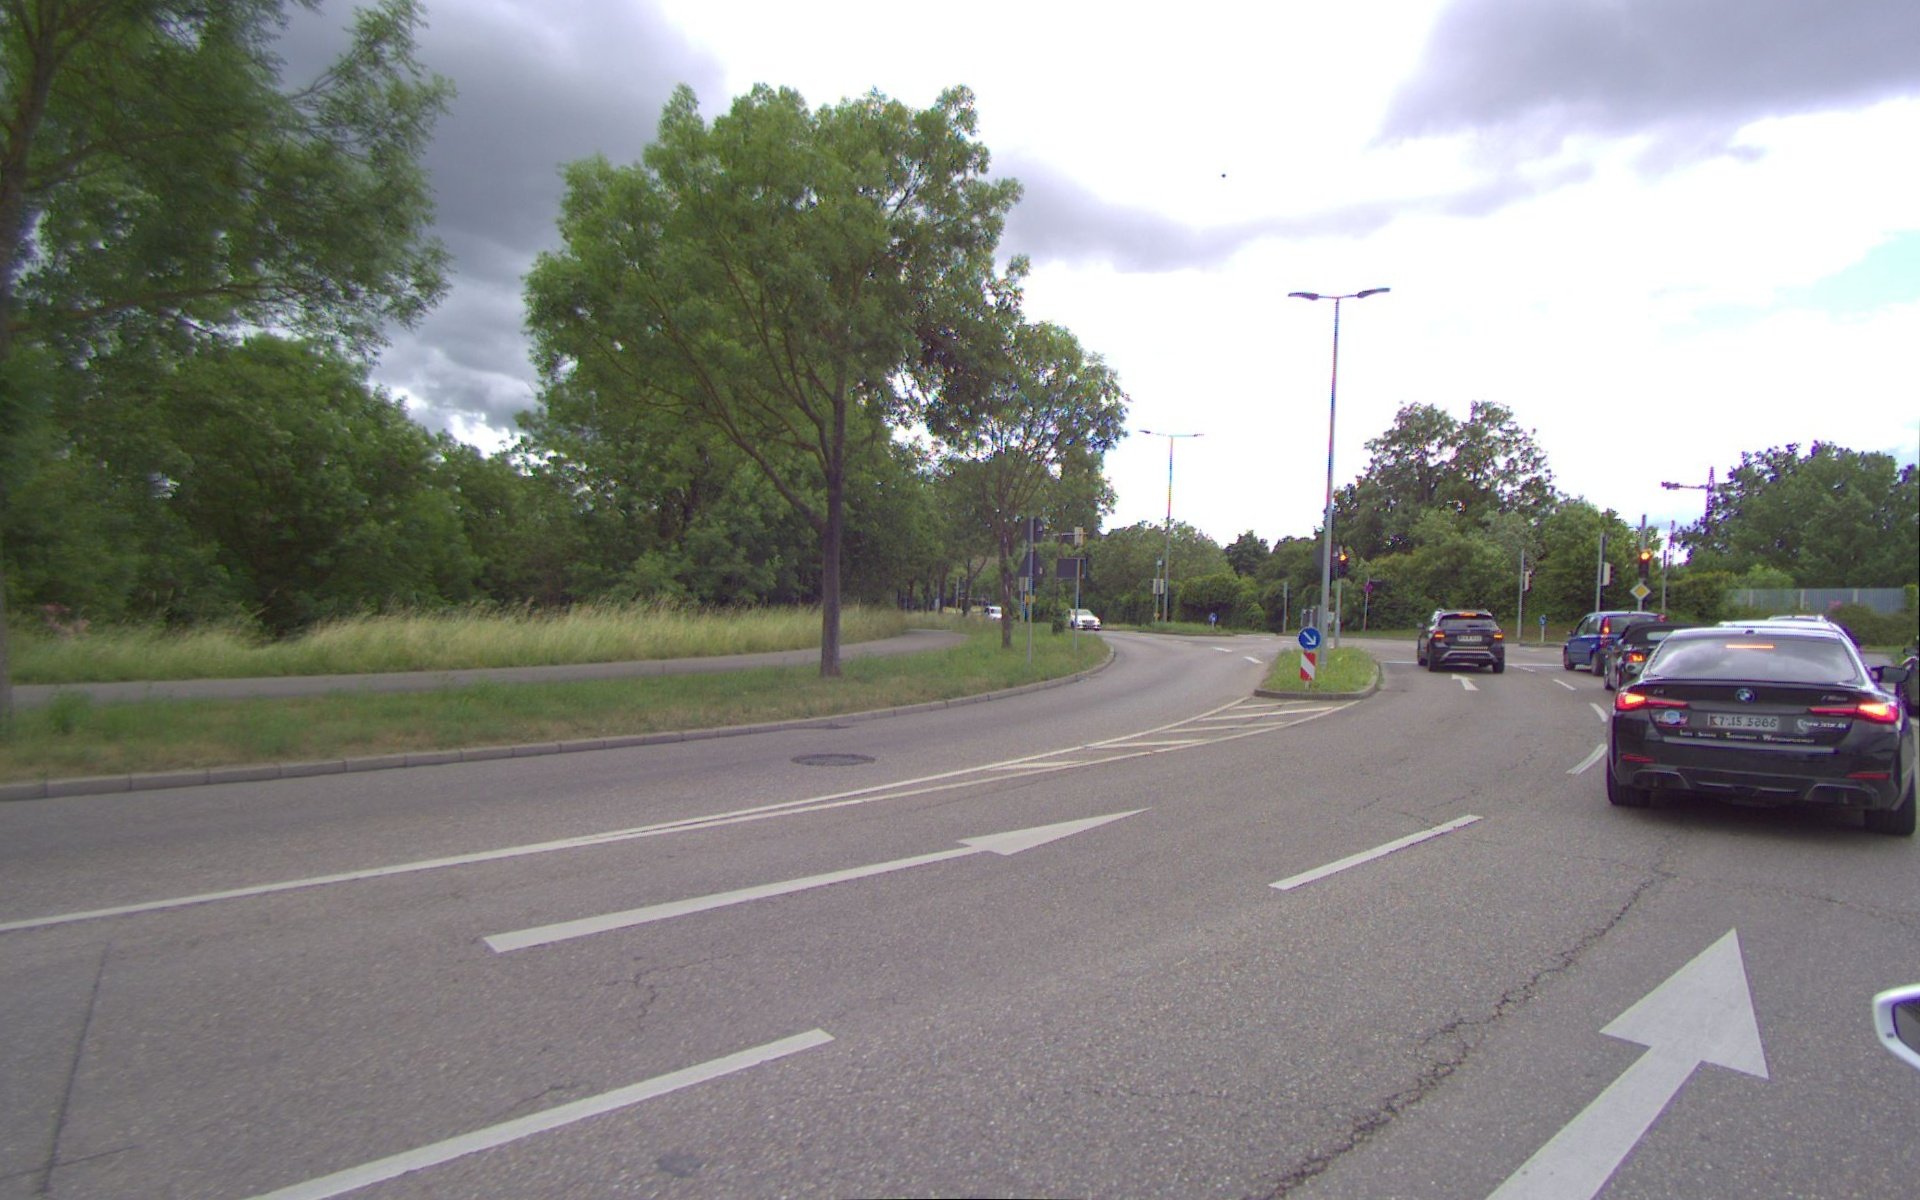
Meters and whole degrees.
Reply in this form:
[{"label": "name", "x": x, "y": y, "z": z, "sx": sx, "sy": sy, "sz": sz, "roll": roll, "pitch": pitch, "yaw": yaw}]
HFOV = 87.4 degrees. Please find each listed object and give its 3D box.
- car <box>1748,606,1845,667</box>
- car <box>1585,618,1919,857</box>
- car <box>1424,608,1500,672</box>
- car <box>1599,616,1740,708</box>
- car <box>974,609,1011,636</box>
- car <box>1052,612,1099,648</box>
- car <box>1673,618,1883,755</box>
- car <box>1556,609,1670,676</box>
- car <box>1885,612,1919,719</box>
[{"label": "car", "x": 23.741, "y": 1.000, "z": 28.472, "sx": 1.801, "sy": 1.573, "sz": 3.765, "roll": 2, "pitch": 0, "yaw": 44}, {"label": "car", "x": 7.013, "y": 0.920, "z": 8.860, "sx": 1.851, "sy": 1.496, "sz": 4.940, "roll": -1, "pitch": -1, "yaw": 40}, {"label": "car", "x": 13.166, "y": 1.016, "z": 26.365, "sx": 1.631, "sy": 1.527, "sz": 3.765, "roll": -2, "pitch": -1, "yaw": 27}, {"label": "car", "x": 12.854, "y": 1.054, "z": 18.405, "sx": 1.540, "sy": 1.386, "sz": 4.077, "roll": -2, "pitch": 0, "yaw": 28}, {"label": "car", "x": 2.565, "y": 1.767, "z": 80.619, "sx": 2.046, "sy": 1.783, "sz": 4.314, "roll": 3, "pitch": 2, "yaw": -10}, {"label": "car", "x": 7.678, "y": 1.991, "z": 67.161, "sx": 1.901, "sy": 2.021, "sz": 4.314, "roll": 3, "pitch": 2, "yaw": -9}, {"label": "car", "x": 10.377, "y": 1.000, "z": 12.994, "sx": 1.645, "sy": 1.489, "sz": 3.619, "roll": -2, "pitch": -1, "yaw": 32}, {"label": "car", "x": 16.145, "y": 1.003, "z": 24.999, "sx": 1.517, "sy": 1.527, "sz": 3.381, "roll": 0, "pitch": 0, "yaw": 17}, {"label": "car", "x": 14.774, "y": 0.968, "z": 14.145, "sx": 1.772, "sy": 1.573, "sz": 3.991, "roll": 1, "pitch": 0, "yaw": 31}]
